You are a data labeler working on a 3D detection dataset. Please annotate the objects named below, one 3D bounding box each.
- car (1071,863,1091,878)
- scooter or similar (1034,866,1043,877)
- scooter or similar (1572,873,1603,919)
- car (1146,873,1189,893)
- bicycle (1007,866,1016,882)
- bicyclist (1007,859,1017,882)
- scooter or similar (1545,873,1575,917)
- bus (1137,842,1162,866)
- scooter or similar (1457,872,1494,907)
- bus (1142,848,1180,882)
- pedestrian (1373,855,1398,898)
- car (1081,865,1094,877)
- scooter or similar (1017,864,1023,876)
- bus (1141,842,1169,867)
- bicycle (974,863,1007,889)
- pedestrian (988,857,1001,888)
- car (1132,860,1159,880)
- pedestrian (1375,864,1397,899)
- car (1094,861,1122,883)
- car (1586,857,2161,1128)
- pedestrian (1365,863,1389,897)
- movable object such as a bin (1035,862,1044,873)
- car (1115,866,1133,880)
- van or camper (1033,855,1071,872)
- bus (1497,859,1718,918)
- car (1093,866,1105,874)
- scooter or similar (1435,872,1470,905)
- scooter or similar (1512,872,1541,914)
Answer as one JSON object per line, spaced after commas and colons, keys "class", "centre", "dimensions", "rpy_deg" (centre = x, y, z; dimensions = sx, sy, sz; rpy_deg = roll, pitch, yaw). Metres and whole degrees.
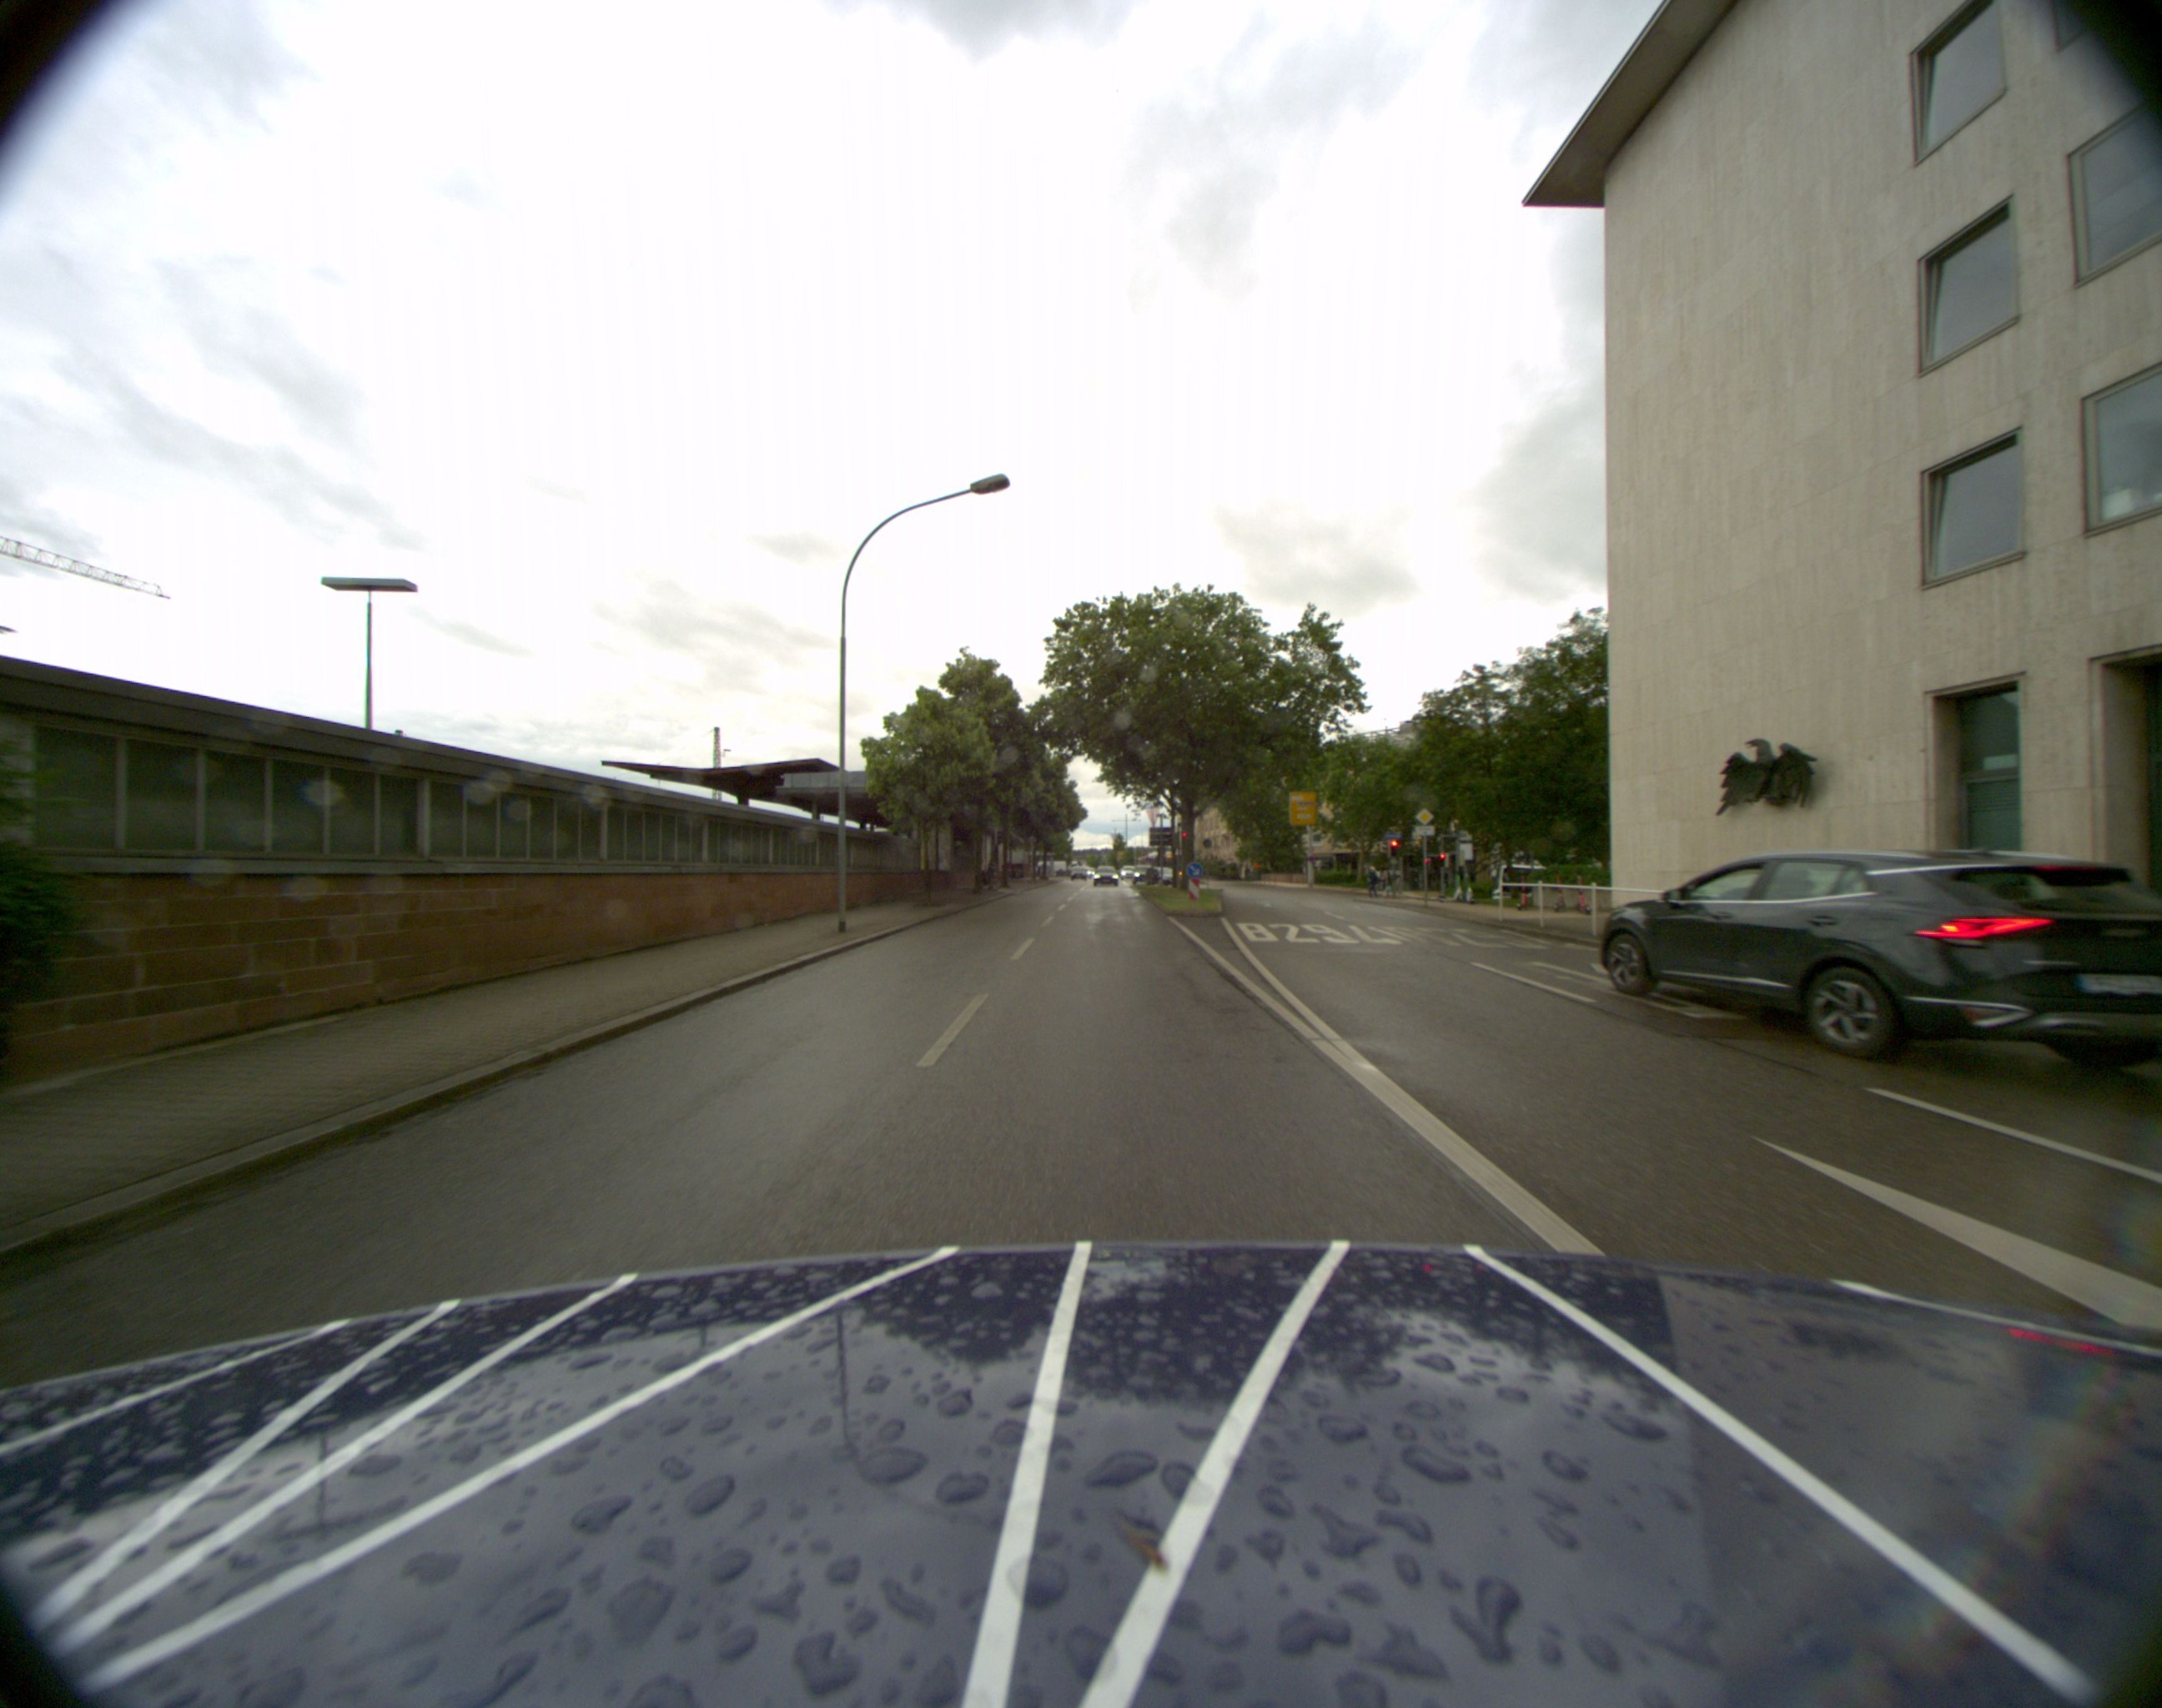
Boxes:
{"class": "car", "centre": [0.060, 1.723, 80.798], "dimensions": [1.871, 1.465, 3.828], "rpy_deg": [1, -1, 4]}
{"class": "scooter or similar", "centre": [-4.870, 2.012, 87.021], "dimensions": [0.495, 1.146, 1.713], "rpy_deg": [1, 0, -18]}
{"class": "scooter or similar", "centre": [13.316, 1.085, 19.963], "dimensions": [0.607, 1.157, 1.532], "rpy_deg": [1, 0, 35]}
{"class": "car", "centre": [6.596, 2.208, 58.255], "dimensions": [1.822, 1.401, 4.408], "rpy_deg": [1, -1, -14]}
{"class": "bicycle", "centre": [-4.725, 1.358, 51.852], "dimensions": [0.447, 1.010, 1.677], "rpy_deg": [3, 0, 0]}
{"class": "bicyclist", "centre": [-4.693, 1.112, 51.897], "dimensions": [0.535, 1.529, 0.694], "rpy_deg": [3, 0, -1]}
{"class": "scooter or similar", "centre": [13.433, 1.125, 21.284], "dimensions": [0.607, 1.185, 1.532], "rpy_deg": [1, 0, 35]}
{"class": "bus", "centre": [9.513, -0.036, 106.669], "dimensions": [2.816, 3.227, 9.913], "rpy_deg": [0, 0, 1]}
{"class": "scooter or similar", "centre": [13.727, 1.219, 26.464], "dimensions": [0.571, 1.185, 1.575], "rpy_deg": [1, 0, 5]}
{"class": "bus", "centre": [8.765, 1.229, 84.597], "dimensions": [2.963, 3.419, 12.561], "rpy_deg": [1, -1, 1]}
{"class": "pedestrian", "centre": [15.125, 1.107, 37.753], "dimensions": [0.936, 2.033, 0.874], "rpy_deg": [2, 0, 9]}
{"class": "car", "centre": [0.853, 2.208, 98.662], "dimensions": [1.619, 1.477, 3.670], "rpy_deg": [1, -1, 0]}
{"class": "scooter or similar", "centre": [-5.963, 1.513, 74.172], "dimensions": [0.494, 1.146, 1.545], "rpy_deg": [1, 0, -1]}
{"class": "bus", "centre": [9.374, 0.055, 97.245], "dimensions": [2.759, 3.114, 8.842], "rpy_deg": [0, 0, 0]}
{"class": "bicycle", "centre": [-4.648, 1.116, 39.051], "dimensions": [1.720, 1.241, 0.487], "rpy_deg": [2, 0, 33]}
{"class": "pedestrian", "centre": [-4.478, 0.967, 39.386], "dimensions": [0.456, 1.559, 0.394], "rpy_deg": [2, 0, 36]}
{"class": "car", "centre": [5.591, 1.386, 66.288], "dimensions": [1.969, 1.630, 4.359], "rpy_deg": [1, -1, 0]}
{"class": "pedestrian", "centre": [14.800, 1.321, 36.849], "dimensions": [0.655, 1.700, 0.797], "rpy_deg": [1, 0, -6]}
{"class": "car", "centre": [2.034, 1.317, 55.637], "dimensions": [1.871, 1.465, 3.828], "rpy_deg": [1, -1, 4]}
{"class": "car", "centre": [6.817, 0.873, 6.845], "dimensions": [1.825, 1.651, 4.339], "rpy_deg": [1, 0, 4]}
{"class": "pedestrian", "centre": [14.081, 1.243, 36.148], "dimensions": [0.655, 1.593, 0.924], "rpy_deg": [1, 0, -10]}
{"class": "movable object such as a bin", "centre": [-5.226, 1.702, 96.153], "dimensions": [1.036, 1.330, 1.317], "rpy_deg": [1, -1, 0]}
{"class": "car", "centre": [5.023, 2.208, 88.584], "dimensions": [1.983, 1.438, 3.909], "rpy_deg": [2, -1, 3]}
{"class": "van or camper", "centre": [-5.250, 1.664, 137.290], "dimensions": [6.542, 2.852, 2.275], "rpy_deg": [2, -1, -29]}
{"class": "bus", "centre": [35.639, 2.244, 52.187], "dimensions": [11.941, 3.002, 2.894], "rpy_deg": [4, 1, 23]}
{"class": "car", "centre": [3.329, 2.888, 138.183], "dimensions": [1.983, 1.438, 3.908], "rpy_deg": [-1, 1, 3]}
{"class": "scooter or similar", "centre": [13.753, 1.260, 28.145], "dimensions": [0.489, 1.160, 1.502], "rpy_deg": [1, 0, -2]}
{"class": "scooter or similar", "centre": [13.268, 1.147, 22.605], "dimensions": [0.607, 1.185, 1.532], "rpy_deg": [1, 0, 35]}
